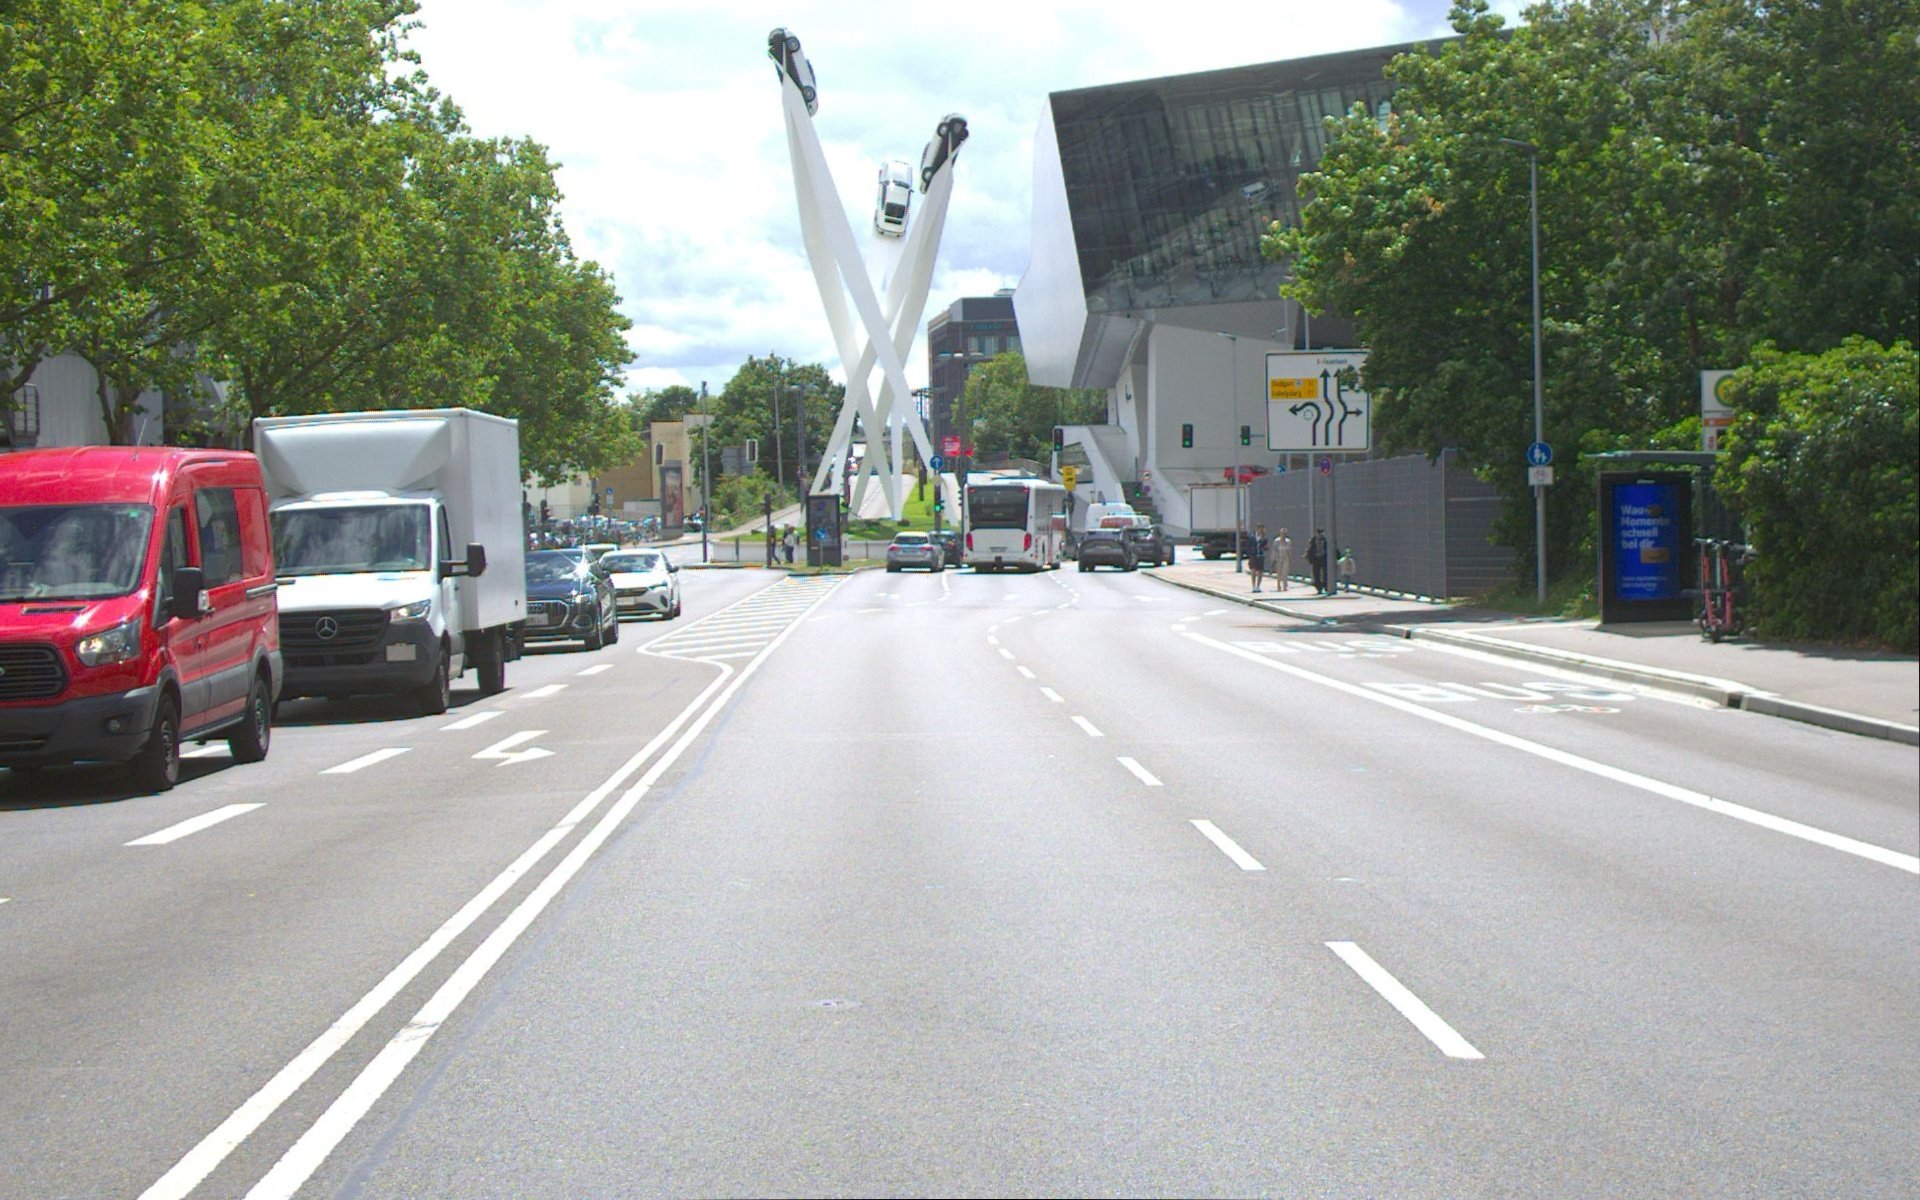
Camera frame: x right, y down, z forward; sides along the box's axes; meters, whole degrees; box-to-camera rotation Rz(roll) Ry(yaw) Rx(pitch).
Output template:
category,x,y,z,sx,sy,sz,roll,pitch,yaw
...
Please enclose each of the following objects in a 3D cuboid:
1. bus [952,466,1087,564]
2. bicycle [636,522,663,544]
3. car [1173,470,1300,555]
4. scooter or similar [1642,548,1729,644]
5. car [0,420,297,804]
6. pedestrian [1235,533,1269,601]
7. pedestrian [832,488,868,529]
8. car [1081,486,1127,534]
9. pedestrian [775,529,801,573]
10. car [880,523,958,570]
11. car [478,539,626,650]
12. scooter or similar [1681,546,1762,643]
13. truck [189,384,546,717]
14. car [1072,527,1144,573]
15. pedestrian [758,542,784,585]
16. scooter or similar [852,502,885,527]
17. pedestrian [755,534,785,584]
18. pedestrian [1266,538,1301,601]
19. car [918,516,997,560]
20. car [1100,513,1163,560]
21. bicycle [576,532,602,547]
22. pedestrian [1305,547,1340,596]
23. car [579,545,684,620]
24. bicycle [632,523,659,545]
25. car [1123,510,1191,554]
category,x,y,z,sx,sy,sz,roll,pitch,yaw
bus,2.306,-3.046,126.604,3.073,3.350,12.218,1,0,10
bicycle,-19.172,-4.135,212.350,1.605,1.378,0.493,1,0,-1
car,12.088,-3.763,149.419,3.338,3.492,9.333,1,0,19
scooter or similar,9.296,-0.063,44.021,0.542,1.159,2.125,-1,1,27
car,-6.500,0.057,25.394,2.063,2.498,5.480,-2,1,0
pedestrian,7.408,-0.836,87.247,0.794,1.715,0.732,1,0,-1
pedestrian,-5.141,-4.277,160.452,1.281,1.810,0.987,-5,5,-21
car,6.811,-4.254,162.397,1.994,2.163,4.655,1,0,5
pedestrian,-6.982,-2.001,139.521,0.863,1.767,1.036,0,0,-14
car,-1.454,-1.897,123.235,1.994,1.631,3.998,1,0,12
car,-6.326,-0.113,53.710,1.740,1.575,4.267,-3,1,0
scooter or similar,9.514,-0.078,42.909,0.542,1.159,1.790,-1,1,27
truck,-6.164,-0.502,36.872,2.452,3.118,7.243,-2,0,0
car,5.455,-1.851,126.233,1.995,1.631,3.998,1,1,12
pedestrian,-7.899,-1.516,143.668,0.863,1.767,1.036,0,0,-14
scooter or similar,-4.279,-3.994,160.758,1.400,1.022,0.550,-5,7,-20
pedestrian,-7.851,-1.707,142.111,0.953,2.048,0.950,1,0,19
pedestrian,8.216,-0.766,87.234,0.794,1.591,0.732,1,0,-1
car,-0.069,-2.371,132.709,1.995,1.631,3.997,1,0,16
car,7.297,-2.698,146.054,1.995,1.926,4.238,1,0,12
bicycle,-22.045,-3.609,204.289,0.492,0.863,1.607,1,3,40
pedestrian,8.583,-0.680,81.512,0.757,1.145,0.971,1,0,3
car,-6.649,-0.383,69.931,1.691,1.410,4.146,-2,1,0
bicycle,-19.291,-4.057,210.812,1.605,1.312,0.493,1,0,-1
car,7.685,-2.631,133.686,1.995,1.631,3.998,1,0,12
